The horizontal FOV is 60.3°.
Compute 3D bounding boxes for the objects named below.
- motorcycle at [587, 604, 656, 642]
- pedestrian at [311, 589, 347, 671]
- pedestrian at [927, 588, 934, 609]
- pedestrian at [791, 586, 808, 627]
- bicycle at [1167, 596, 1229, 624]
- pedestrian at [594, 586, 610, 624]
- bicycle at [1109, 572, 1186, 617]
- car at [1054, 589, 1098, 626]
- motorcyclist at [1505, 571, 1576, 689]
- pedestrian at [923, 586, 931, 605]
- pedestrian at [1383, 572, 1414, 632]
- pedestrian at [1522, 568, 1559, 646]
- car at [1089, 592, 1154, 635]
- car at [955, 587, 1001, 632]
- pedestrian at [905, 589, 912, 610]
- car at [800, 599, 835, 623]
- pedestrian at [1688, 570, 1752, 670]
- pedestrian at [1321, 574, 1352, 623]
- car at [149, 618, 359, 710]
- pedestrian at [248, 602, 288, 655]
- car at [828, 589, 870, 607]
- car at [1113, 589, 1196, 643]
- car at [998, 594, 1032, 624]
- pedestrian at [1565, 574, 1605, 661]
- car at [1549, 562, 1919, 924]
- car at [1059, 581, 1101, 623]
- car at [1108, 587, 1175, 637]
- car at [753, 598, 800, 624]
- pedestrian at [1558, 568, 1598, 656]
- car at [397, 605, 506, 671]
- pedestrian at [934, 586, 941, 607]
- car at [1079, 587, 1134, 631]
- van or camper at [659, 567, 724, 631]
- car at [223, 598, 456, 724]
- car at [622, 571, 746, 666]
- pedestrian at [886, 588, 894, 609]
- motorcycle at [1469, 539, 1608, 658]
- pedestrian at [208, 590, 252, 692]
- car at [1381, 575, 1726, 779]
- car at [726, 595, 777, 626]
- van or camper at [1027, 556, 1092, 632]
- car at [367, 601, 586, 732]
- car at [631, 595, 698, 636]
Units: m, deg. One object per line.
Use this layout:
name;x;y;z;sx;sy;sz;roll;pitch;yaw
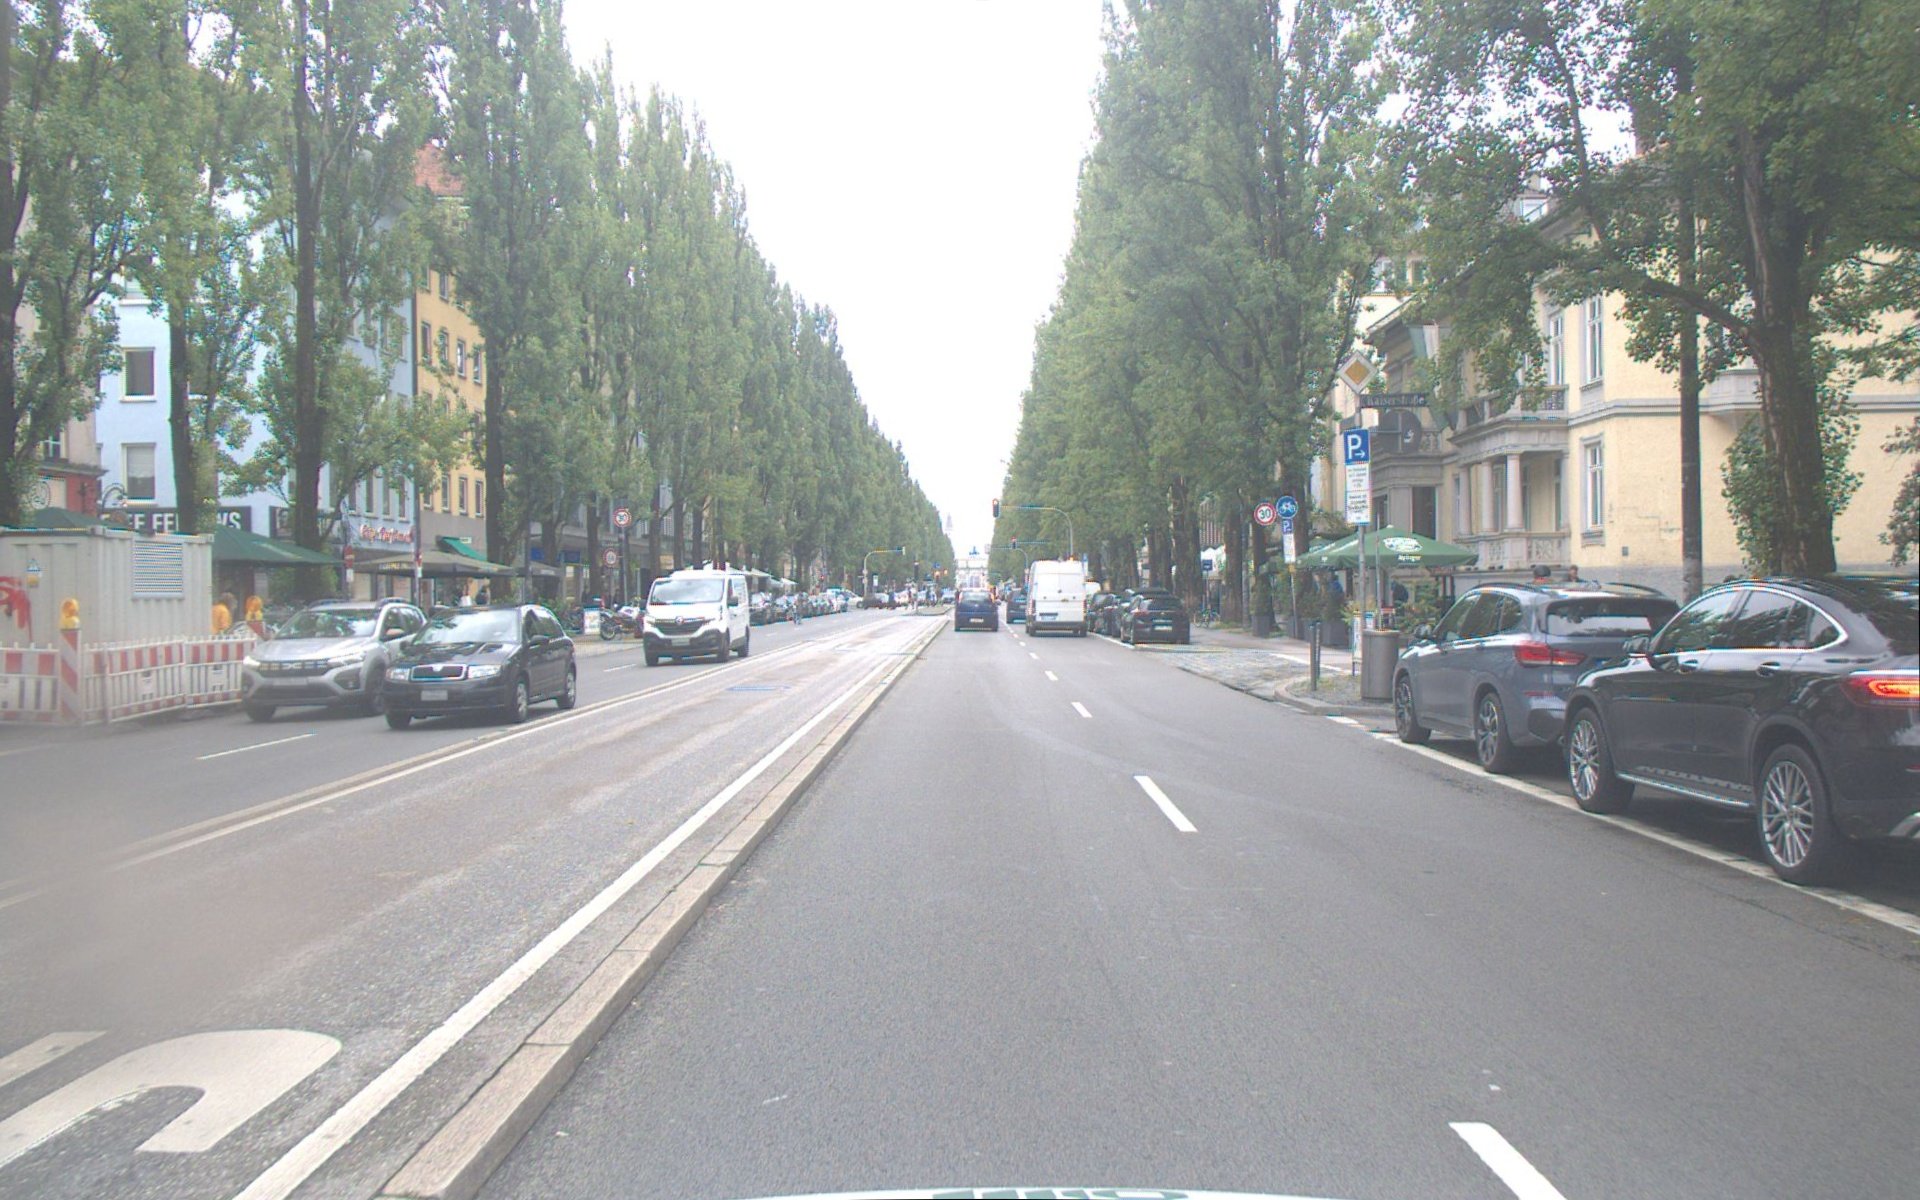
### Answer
motorcycle;-11.133;0.747;54.539;1.212;1.160;3.719;-1;0;5
pedestrian;-14.217;0.676;37.282;0.654;1.818;0.826;1;-1;-16
pedestrian;-2.548;-0.122;141.157;0.542;1.746;0.493;-2;0;1
pedestrian;-8.084;0.315;83.388;0.794;2.049;0.718;-1;0;-10
bicycle;9.264;0.398;64.388;0.752;1.041;2.701;-1;0;-34
pedestrian;-17.979;0.231;83.119;0.569;1.889;0.675;-1;0;4
bicycle;8.593;-0.237;75.789;3.473;2.049;1.298;0;-1;9
car;5.235;0.355;75.097;1.726;1.624;3.999;0;-1;0
motorcyclist;7.259;0.366;20.705;0.553;1.431;0.765;-2;0;-4
pedestrian;-3.610;-0.508;181.030;0.754;2.049;0.897;0;-1;0
pedestrian;14.032;0.064;52.933;0.745;1.886;0.740;-1;0;-3
pedestrian;12.682;0.155;36.141;0.634;1.675;0.766;0;-1;9
car;5.739;0.491;59.221;1.953;1.490;3.999;0;-1;0
car;0.694;0.379;63.650;1.723;1.648;3.747;0;-1;1
pedestrian;-4.347;-0.032;140.422;0.542;1.746;0.493;-2;0;1
car;-9.617;0.701;111.902;1.890;1.512;4.111;-2;0;2
pedestrian;12.799;0.329;27.873;0.672;1.656;0.776;-1;0;-2
pedestrian;14.113;-0.052;61.984;0.798;1.786;0.931;-2;0;32
car;-11.118;0.965;26.316;1.773;1.272;3.700;-1;0;-1
pedestrian;-20.715;0.839;49.512;0.778;1.569;0.898;-1;0;0
car;-10.882;-0.171;161.969;3.912;1.775;1.996;0;-1;-8
car;5.690;0.439;48.832;1.904;1.493;3.999;-1;0;-1
car;2.616;0.415;78.666;1.473;1.336;3.283;-1;0;0
pedestrian;12.284;0.344;32.488;0.655;1.679;0.625;-1;0;27
car;5.252;0.627;9.927;1.842;1.670;4.583;-1;0;1
car;5.845;0.110;81.140;1.768;2.027;3.999;0;-1;0
car;5.916;0.379;54.370;1.748;1.551;3.940;-1;0;0
car;-10.409;0.623;94.002;1.952;1.445;4.002;0;-1;3
pedestrian;13.485;0.257;36.125;0.686;1.905;0.766;0;-1;9
car;-11.502;0.821;37.570;1.481;1.368;3.237;-1;0;-1
pedestrian;-1.946;-0.304;142.251;0.542;1.746;0.493;-2;0;1
car;5.629;0.351;63.780;1.768;1.624;3.999;0;-1;0
van or camper;-10.928;-0.058;67.600;1.953;2.501;4.251;-1;0;0
car;-8.623;0.811;23.364;1.788;1.559;3.999;-2;-1;-1
car;-6.288;0.413;38.239;1.953;1.967;4.918;-3;0;0
pedestrian;-5.958;-0.116;140.995;0.542;1.746;0.493;-2;0;1
motorcycle;7.219;-0.024;20.777;0.810;1.394;2.251;-2;0;-3
pedestrian;-12.547;0.694;28.426;0.471;1.731;0.575;-1;0;0
car;5.298;0.601;15.400;1.590;1.592;4.371;-1;0;-1
car;-10.543;0.557;83.771;1.952;1.512;4.000;0;-1;1
van or camper;3.416;-0.163;57.453;1.993;2.519;3.999;-1;-1;0
car;-5.976;0.767;20.866;1.677;1.438;3.722;-1;0;-1
car;-10.901;0.590;61.257;1.758;1.454;3.999;0;-1;0
